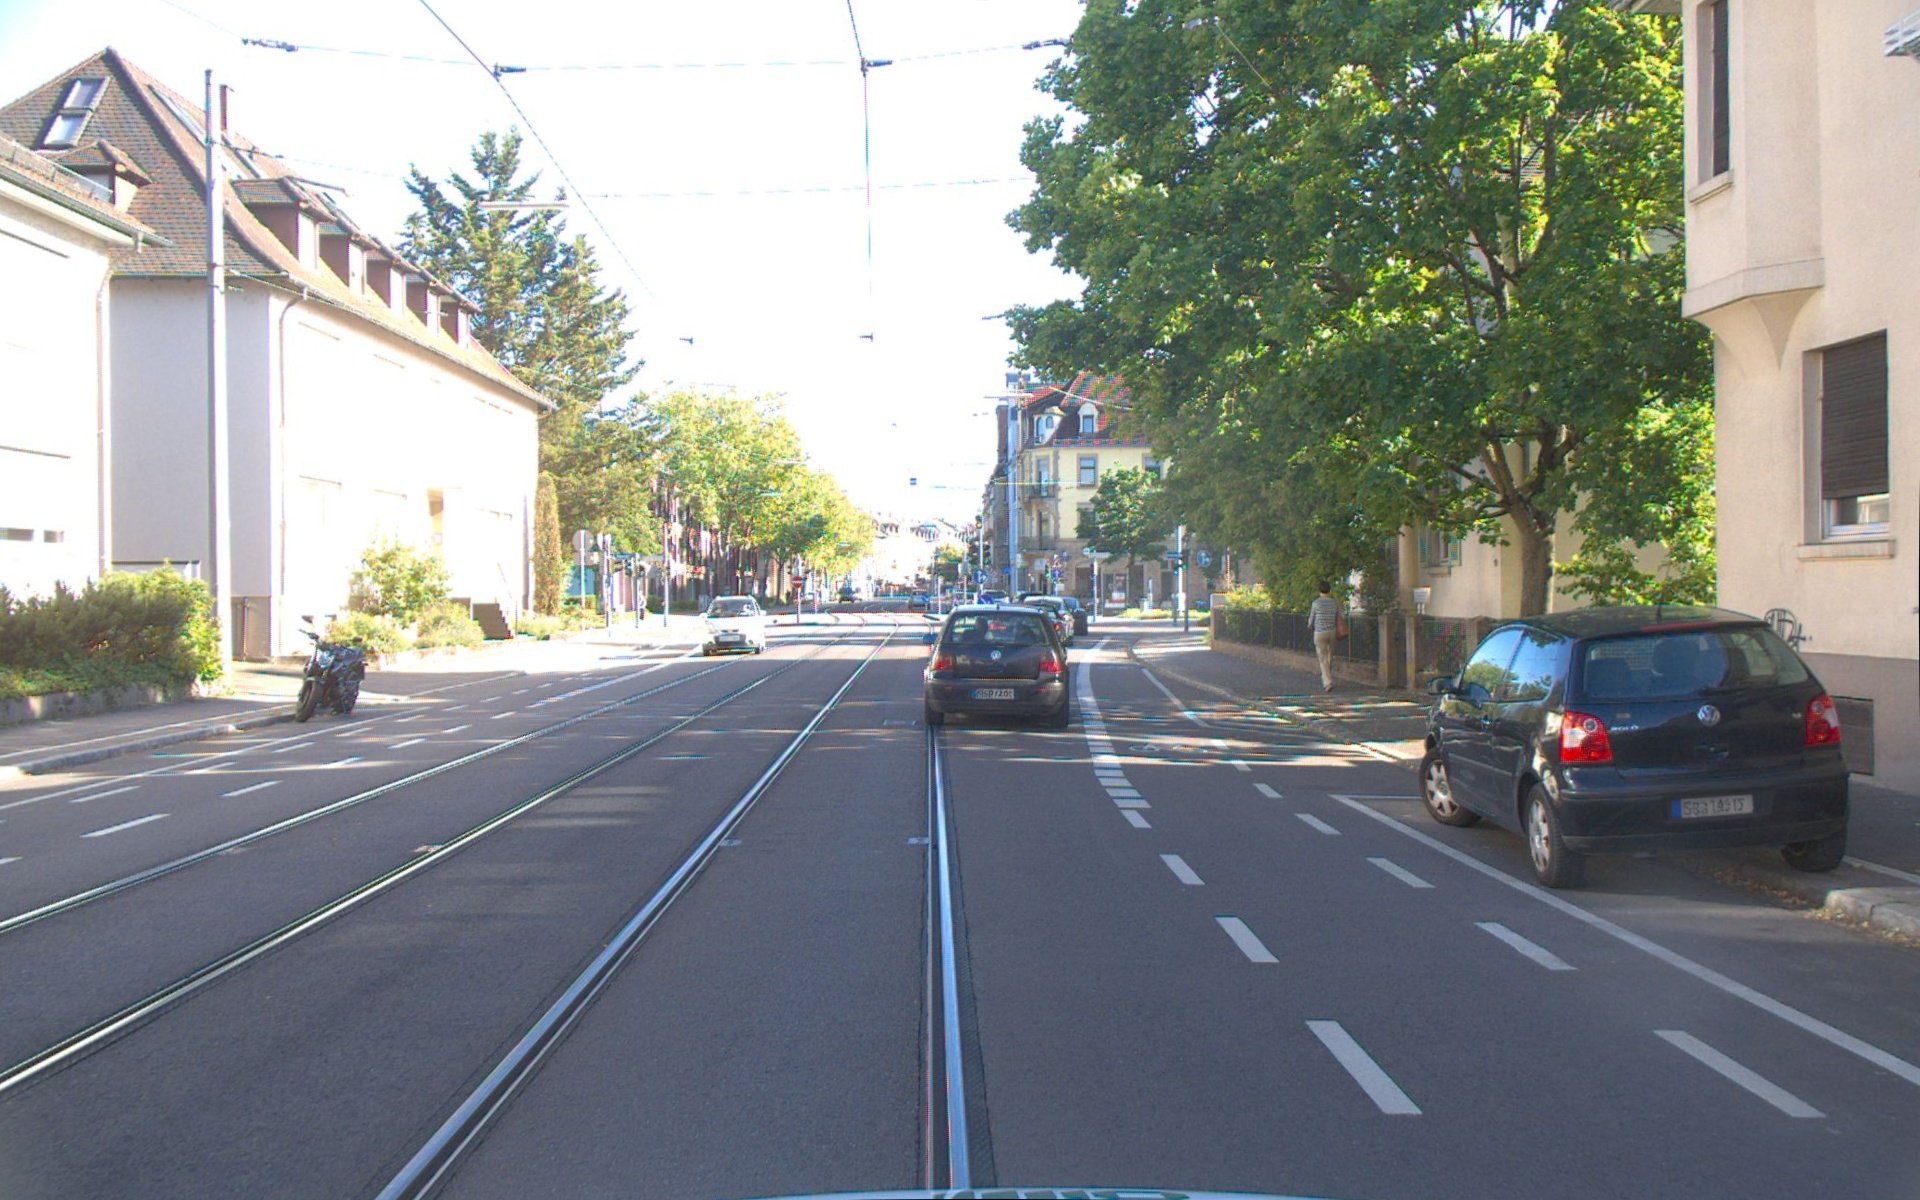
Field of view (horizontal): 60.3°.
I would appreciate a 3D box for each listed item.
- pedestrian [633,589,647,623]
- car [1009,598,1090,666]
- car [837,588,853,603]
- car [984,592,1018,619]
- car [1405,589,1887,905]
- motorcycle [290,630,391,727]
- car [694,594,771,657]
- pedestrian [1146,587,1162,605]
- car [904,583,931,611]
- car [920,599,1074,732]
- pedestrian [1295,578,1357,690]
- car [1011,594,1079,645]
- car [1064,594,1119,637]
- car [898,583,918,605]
[{"bbox_3d":[-16.836,0.308,87.014,0.600,1.719,0.729,2,0,-19],"label":"pedestrian"},{"bbox_3d":[1.971,0.688,37.254,1.601,1.396,3.757,-1,0,0],"label":"car"},{"bbox_3d":[-14.824,-0.609,212.939,1.933,1.847,4.292,-1,0,-5],"label":"car"},{"bbox_3d":[2.335,0.303,94.925,1.647,1.479,3.377,-1,0,-3],"label":"car"},{"bbox_3d":[3.986,0.754,10.292,1.630,1.591,3.772,-1,0,4],"label":"car"},{"bbox_3d":[-8.369,1.029,22.428,0.525,1.182,2.171,-2,0,-1],"label":"motorcycle"},{"bbox_3d":[-5.825,0.619,42.671,1.543,1.503,3.440,-1,0,-1],"label":"car"},{"bbox_3d":[13.351,-0.301,113.839,0.960,1.208,0.743,-1,0,-2],"label":"pedestrian"},{"bbox_3d":[-2.975,-0.223,115.537,1.751,1.892,3.998,2,0,-3],"label":"car"},{"bbox_3d":[0.482,0.718,20.302,1.680,1.427,4.007,1,0,2],"label":"car"},{"bbox_3d":[5.767,0.519,26.093,0.703,1.717,0.870,-2,0,-2],"label":"pedestrian"},{"bbox_3d":[2.659,0.577,51.102,1.702,1.466,3.813,-1,0,9],"label":"car"},{"bbox_3d":[4.781,0.550,60.526,1.539,1.334,3.645,-1,3,-3],"label":"car"},{"bbox_3d":[-4.587,-0.571,145.645,1.751,1.892,3.998,-1,0,-3],"label":"car"}]
